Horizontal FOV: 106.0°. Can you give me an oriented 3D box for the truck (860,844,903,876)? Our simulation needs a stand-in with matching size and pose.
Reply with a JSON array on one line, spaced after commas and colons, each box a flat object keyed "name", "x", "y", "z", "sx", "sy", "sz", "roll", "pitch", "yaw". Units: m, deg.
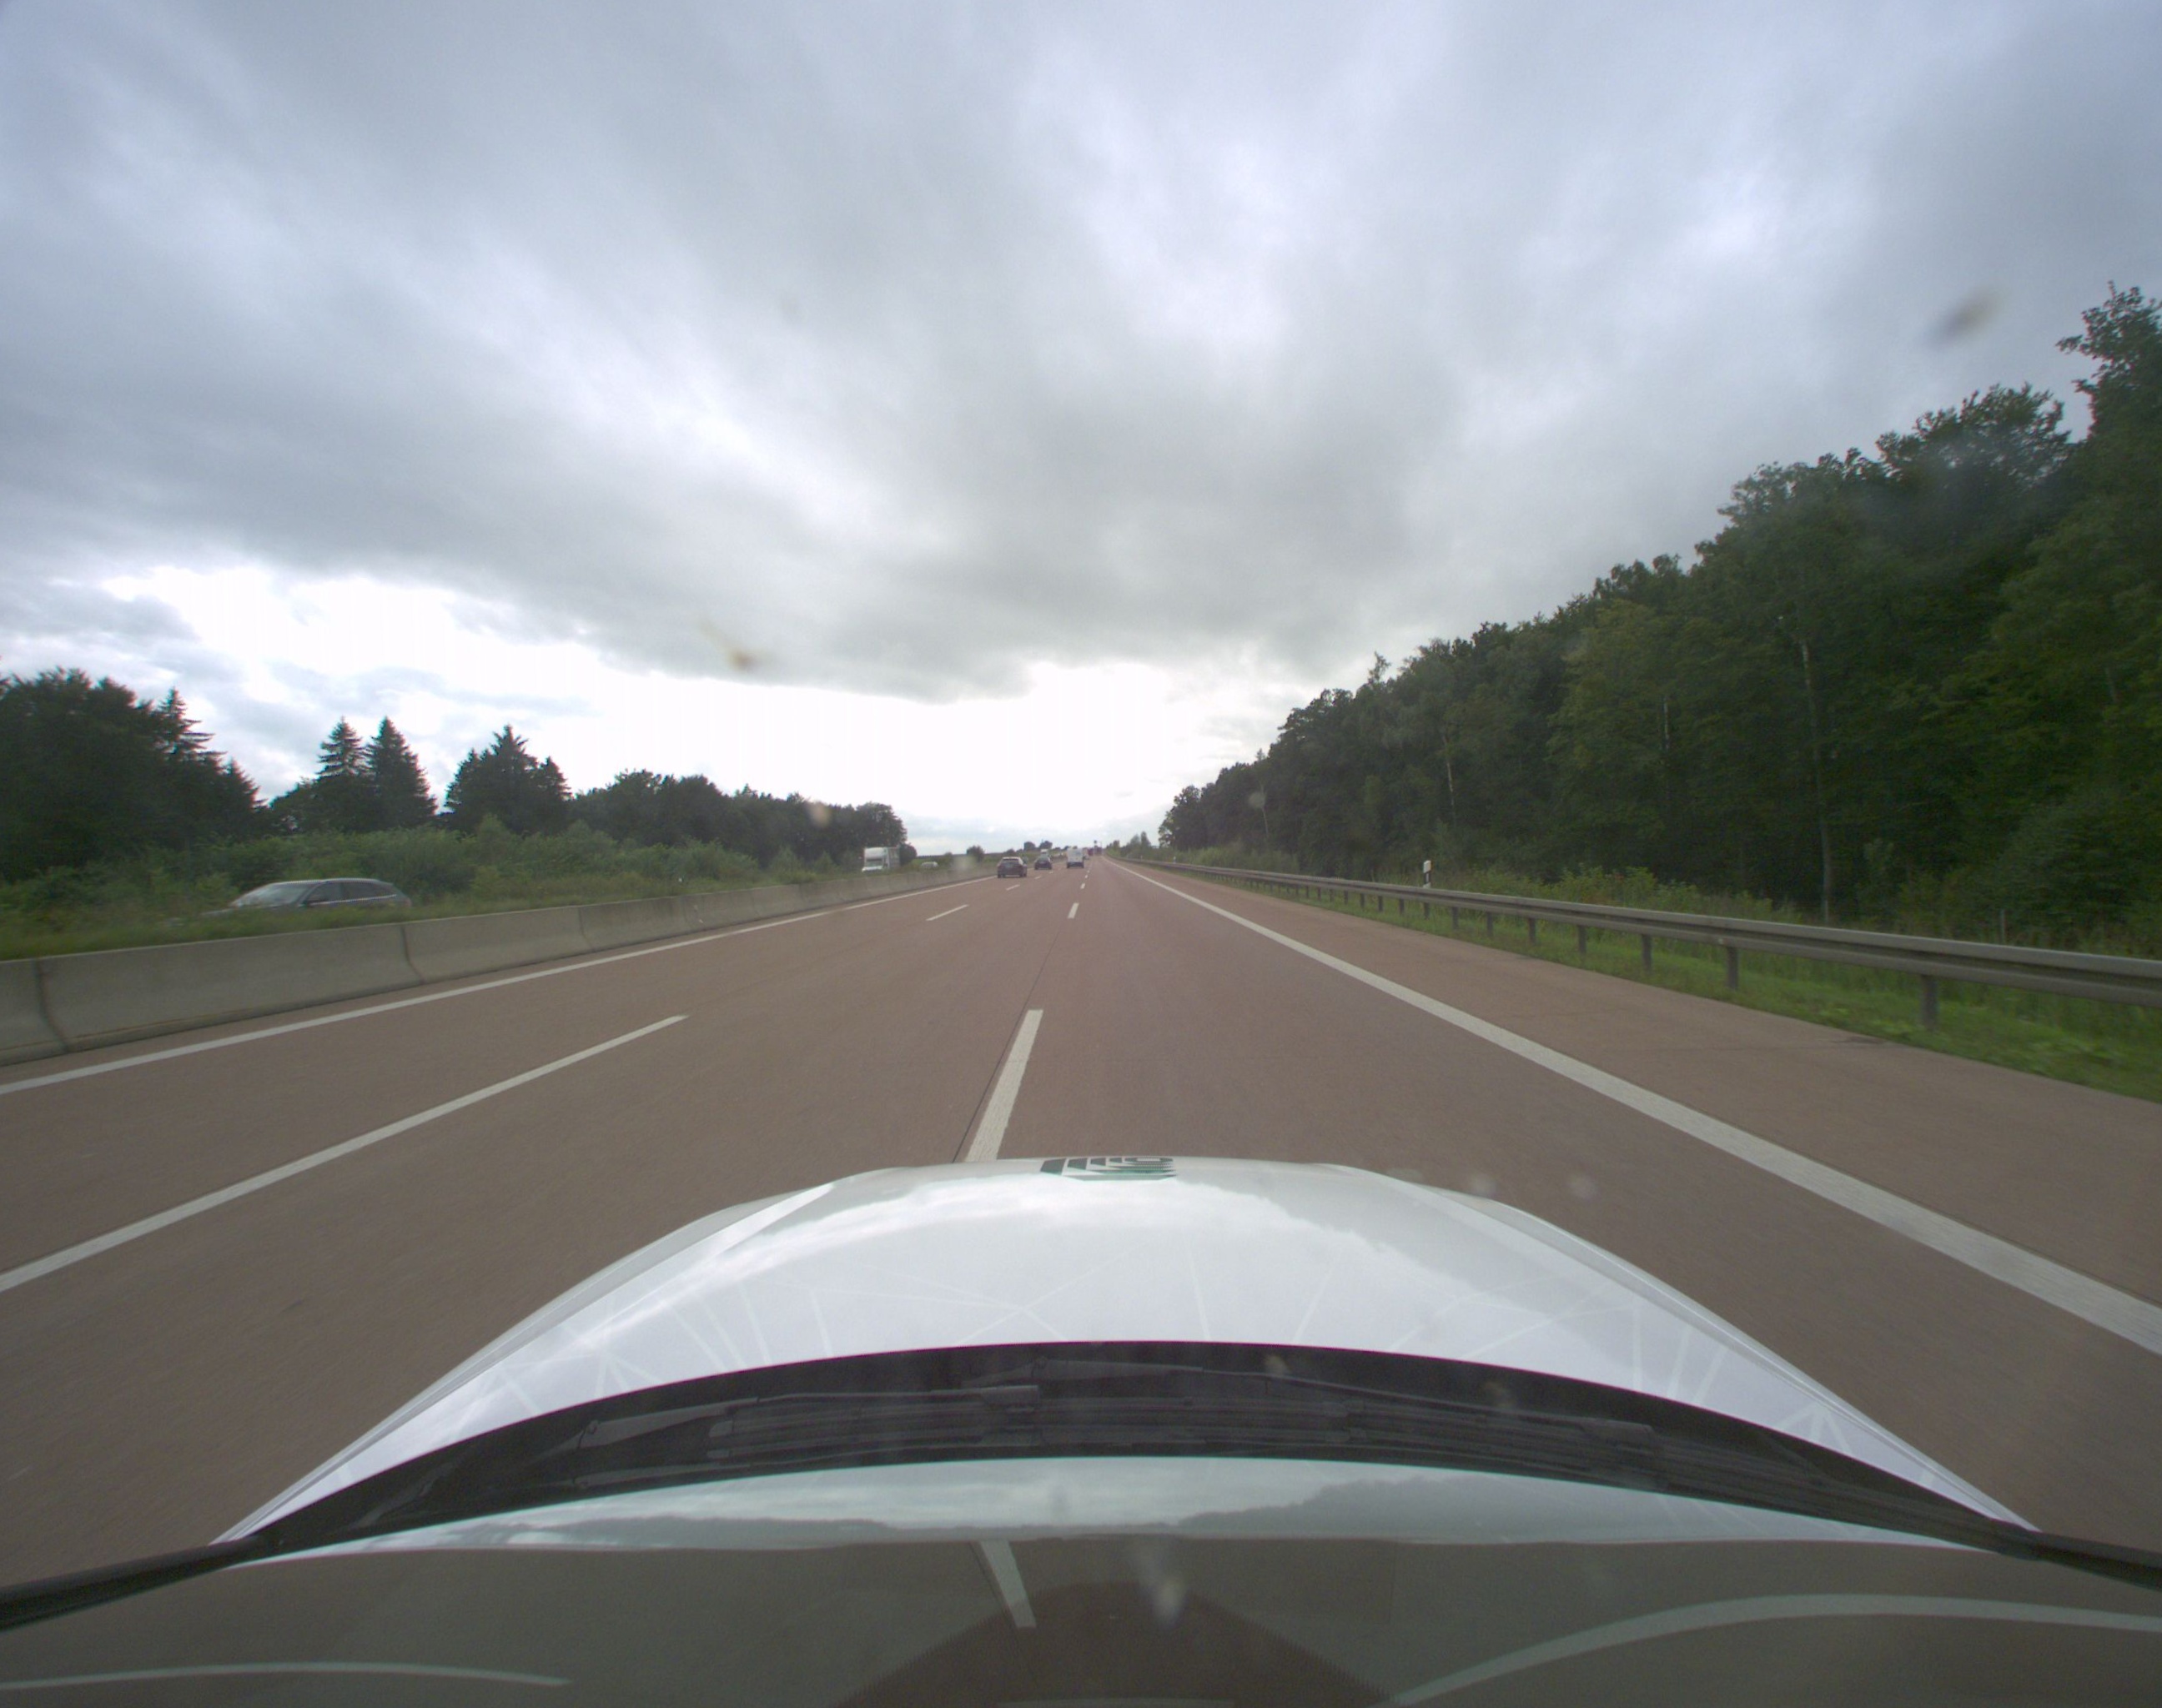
[{"name": "truck", "x": -20.265, "y": 0.549, "z": 83.225, "sx": 2.348, "sy": 3.099, "sz": 7.482, "roll": 1, "pitch": 0, "yaw": 1}]

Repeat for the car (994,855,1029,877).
[{"name": "car", "x": -5.058, "y": 0.836, "z": 60.137, "sx": 2.052, "sy": 1.491, "sz": 5.453, "roll": -1, "pitch": 0, "yaw": 0}]

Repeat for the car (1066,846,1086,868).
[{"name": "car", "x": -0.556, "y": 0.285, "z": 99.033, "sx": 2.130, "sy": 2.507, "sz": 7.134, "roll": -1, "pitch": 0, "yaw": 2}]

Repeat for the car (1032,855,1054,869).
[{"name": "car", "x": -4.282, "y": 0.860, "z": 93.404, "sx": 2.077, "sy": 1.550, "sz": 5.677, "roll": 0, "pitch": 0, "yaw": 2}]
